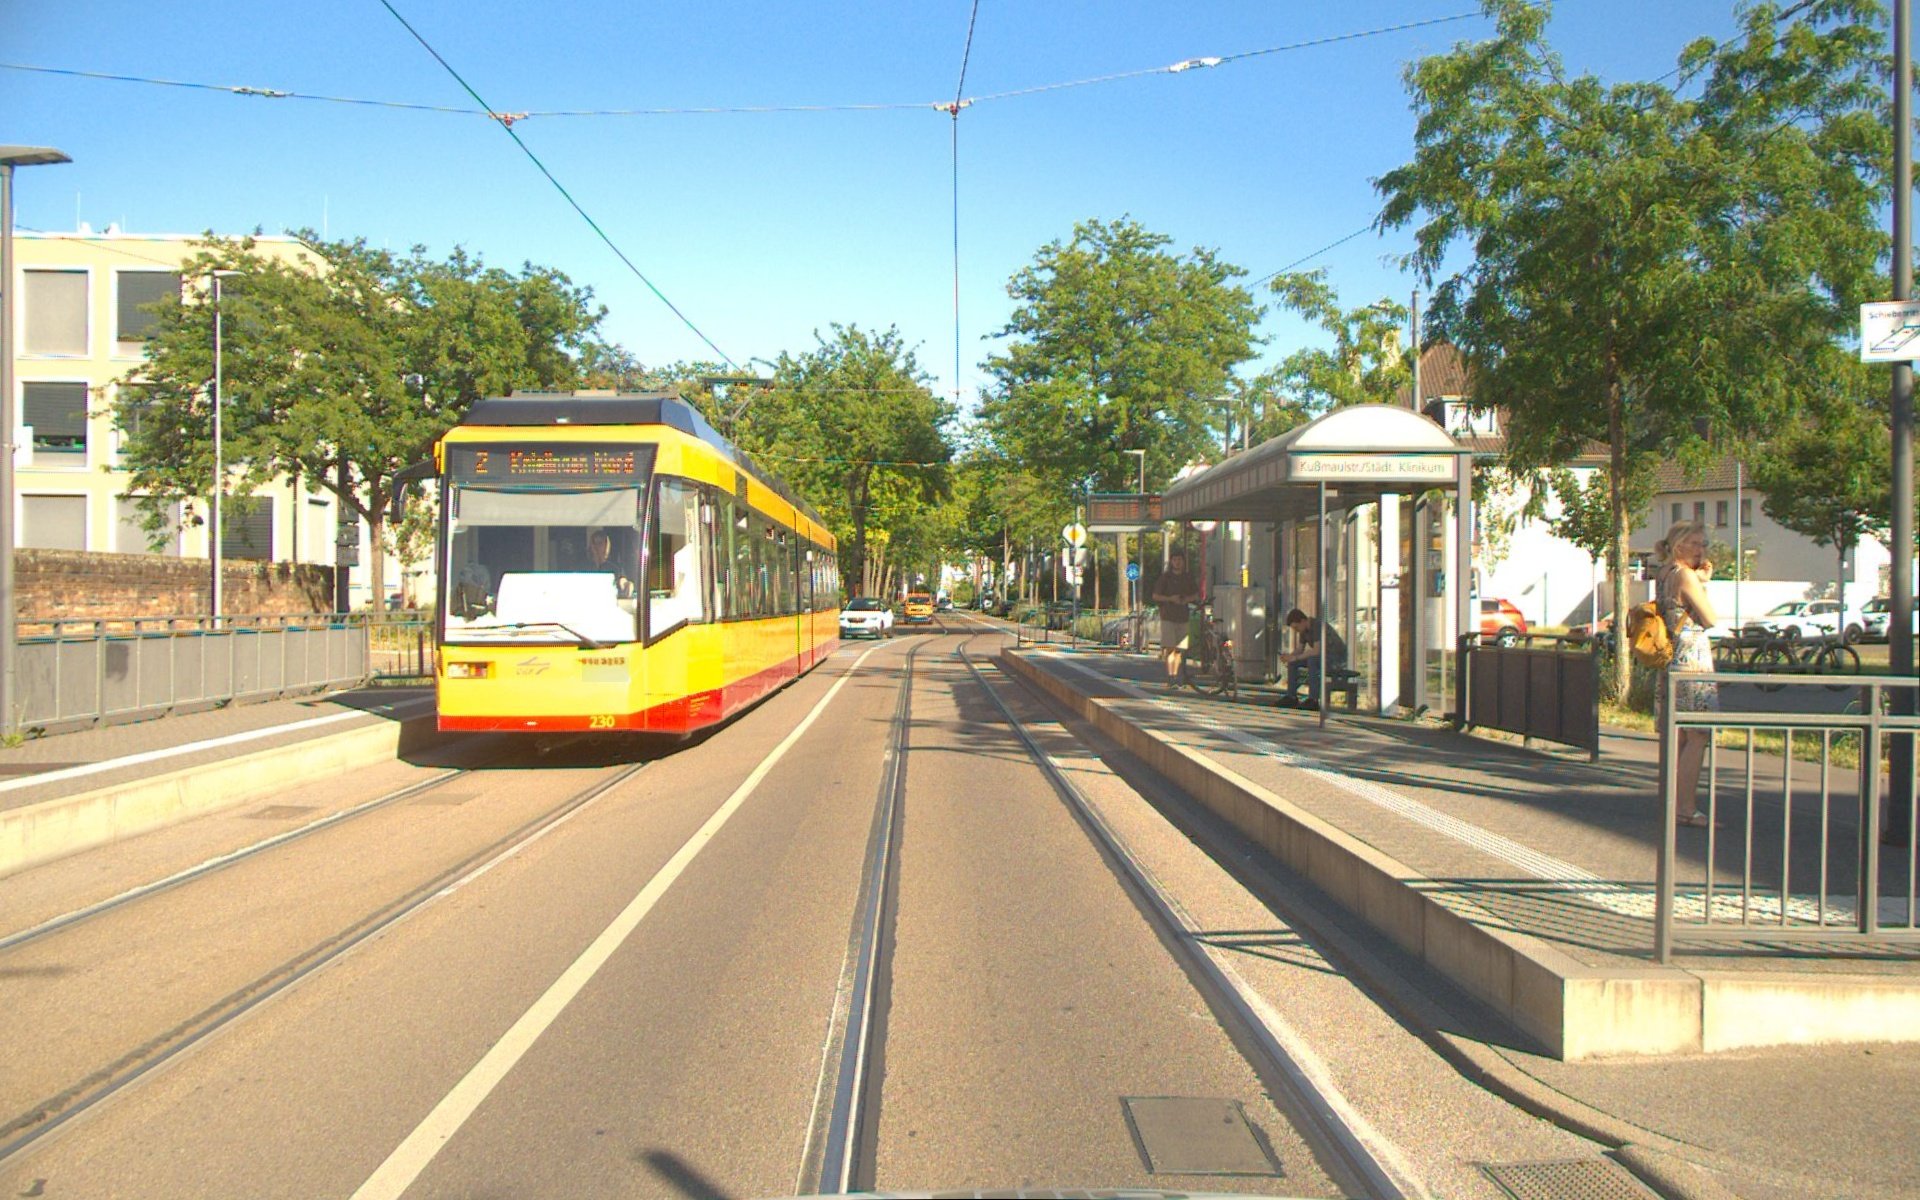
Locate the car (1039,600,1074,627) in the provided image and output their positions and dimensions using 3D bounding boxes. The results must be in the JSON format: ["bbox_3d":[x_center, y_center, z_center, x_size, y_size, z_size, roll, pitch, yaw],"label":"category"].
[{"bbox_3d":[5.652,0.784,97.306,1.713,1.521,3.995,-1,0,-2],"label":"car"}]

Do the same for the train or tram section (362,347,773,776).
[{"bbox_3d":[-3.617,-0.324,17.024,2.747,3.520,6.666,1,0,-1],"label":"train or tram section"}]

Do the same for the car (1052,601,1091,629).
[{"bbox_3d":[6.163,0.802,91.706,1.713,1.521,4.442,-1,0,-2],"label":"car"}]

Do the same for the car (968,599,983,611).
[{"bbox_3d":[2.277,0.724,237.434,1.961,1.704,4.393,-2,0,2],"label":"car"}]

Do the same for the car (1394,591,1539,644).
[{"bbox_3d":[16.343,0.558,53.506,4.079,1.671,1.981,0,0,-3],"label":"car"}]

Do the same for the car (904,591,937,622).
[{"bbox_3d":[-2.583,0.420,107.792,1.954,2.000,4.930,0,0,-4],"label":"car"}]

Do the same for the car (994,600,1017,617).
[{"bbox_3d":[4.326,0.798,156.581,1.748,1.473,4.298,-3,0,-3],"label":"car"}]

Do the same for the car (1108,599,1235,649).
[{"bbox_3d":[6.736,0.742,52.606,3.902,1.534,1.984,0,0,8],"label":"car"}]

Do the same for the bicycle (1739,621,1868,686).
[{"bbox_3d":[13.237,0.832,25.952,1.862,0.996,0.490,0,0,-8],"label":"bicycle"}]

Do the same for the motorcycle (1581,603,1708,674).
[{"bbox_3d":[12.769,0.710,30.868,2.038,1.296,0.860,0,0,-8],"label":"motorcycle"}]

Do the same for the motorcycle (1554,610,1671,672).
[{"bbox_3d":[12.790,0.793,32.449,1.961,1.178,0.860,0,0,-8],"label":"motorcycle"}]

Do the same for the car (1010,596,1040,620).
[{"bbox_3d":[5.098,0.644,130.216,1.954,1.734,4.475,-3,0,-2],"label":"car"}]

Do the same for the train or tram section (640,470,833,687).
[{"bbox_3d":[-3.914,-0.356,30.421,2.747,3.520,6.666,1,0,-1],"label":"train or tram section"}]

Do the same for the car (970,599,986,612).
[{"bbox_3d":[2.391,0.740,219.684,1.962,1.704,4.390,-2,0,-2],"label":"car"}]

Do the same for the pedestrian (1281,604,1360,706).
[{"bbox_3d":[4.168,0.631,19.165,0.723,1.137,0.658,2,0,-2],"label":"pedestrian"}]

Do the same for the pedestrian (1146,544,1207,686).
[{"bbox_3d":[2.960,0.203,22.642,0.696,1.886,0.729,1,0,0],"label":"pedestrian"}]

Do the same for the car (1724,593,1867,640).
[{"bbox_3d":[27.789,0.543,55.010,4.099,1.534,1.971,1,0,-19],"label":"car"}]

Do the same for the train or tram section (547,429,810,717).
[{"bbox_3d":[-3.766,-0.340,23.727,2.747,3.520,6.666,1,0,-1],"label":"train or tram section"}]

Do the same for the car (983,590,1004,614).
[{"bbox_3d":[3.784,0.199,187.722,2.200,2.700,5.583,0,0,-2],"label":"car"}]

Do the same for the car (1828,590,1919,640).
[{"bbox_3d":[32.234,0.543,57.258,3.939,1.601,1.983,2,0,-27],"label":"car"}]

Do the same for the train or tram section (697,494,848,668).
[{"bbox_3d":[-4.049,-0.391,37.117,2.747,3.520,6.666,1,0,-1],"label":"train or tram section"}]

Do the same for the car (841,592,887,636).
[{"bbox_3d":[-3.753,0.530,64.876,1.729,1.693,4.208,0,0,-3],"label":"car"}]

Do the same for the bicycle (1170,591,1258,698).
[{"bbox_3d":[3.116,0.526,20.469,0.607,1.251,1.965,1,0,-5],"label":"bicycle"}]

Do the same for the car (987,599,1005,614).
[{"bbox_3d":[3.646,0.669,166.426,1.594,1.422,3.644,-3,0,-2],"label":"car"}]

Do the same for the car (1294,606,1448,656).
[{"bbox_3d":[12.645,0.968,51.094,4.505,1.492,1.983,0,-2,13],"label":"car"}]

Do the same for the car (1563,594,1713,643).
[{"bbox_3d":[22.025,0.601,53.852,4.078,1.534,1.982,0,0,-1],"label":"car"}]

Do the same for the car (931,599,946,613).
[{"bbox_3d":[-2.612,0.687,201.009,1.828,1.704,4.172,-1,0,-1],"label":"car"}]

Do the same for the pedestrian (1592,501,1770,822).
[{"bbox_3d":[4.067,0.334,9.372,0.658,1.734,0.690,2,0,-3],"label":"pedestrian"}]

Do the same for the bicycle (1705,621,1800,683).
[{"bbox_3d":[13.131,0.859,27.416,1.442,0.996,0.415,0,0,-8],"label":"bicycle"}]
